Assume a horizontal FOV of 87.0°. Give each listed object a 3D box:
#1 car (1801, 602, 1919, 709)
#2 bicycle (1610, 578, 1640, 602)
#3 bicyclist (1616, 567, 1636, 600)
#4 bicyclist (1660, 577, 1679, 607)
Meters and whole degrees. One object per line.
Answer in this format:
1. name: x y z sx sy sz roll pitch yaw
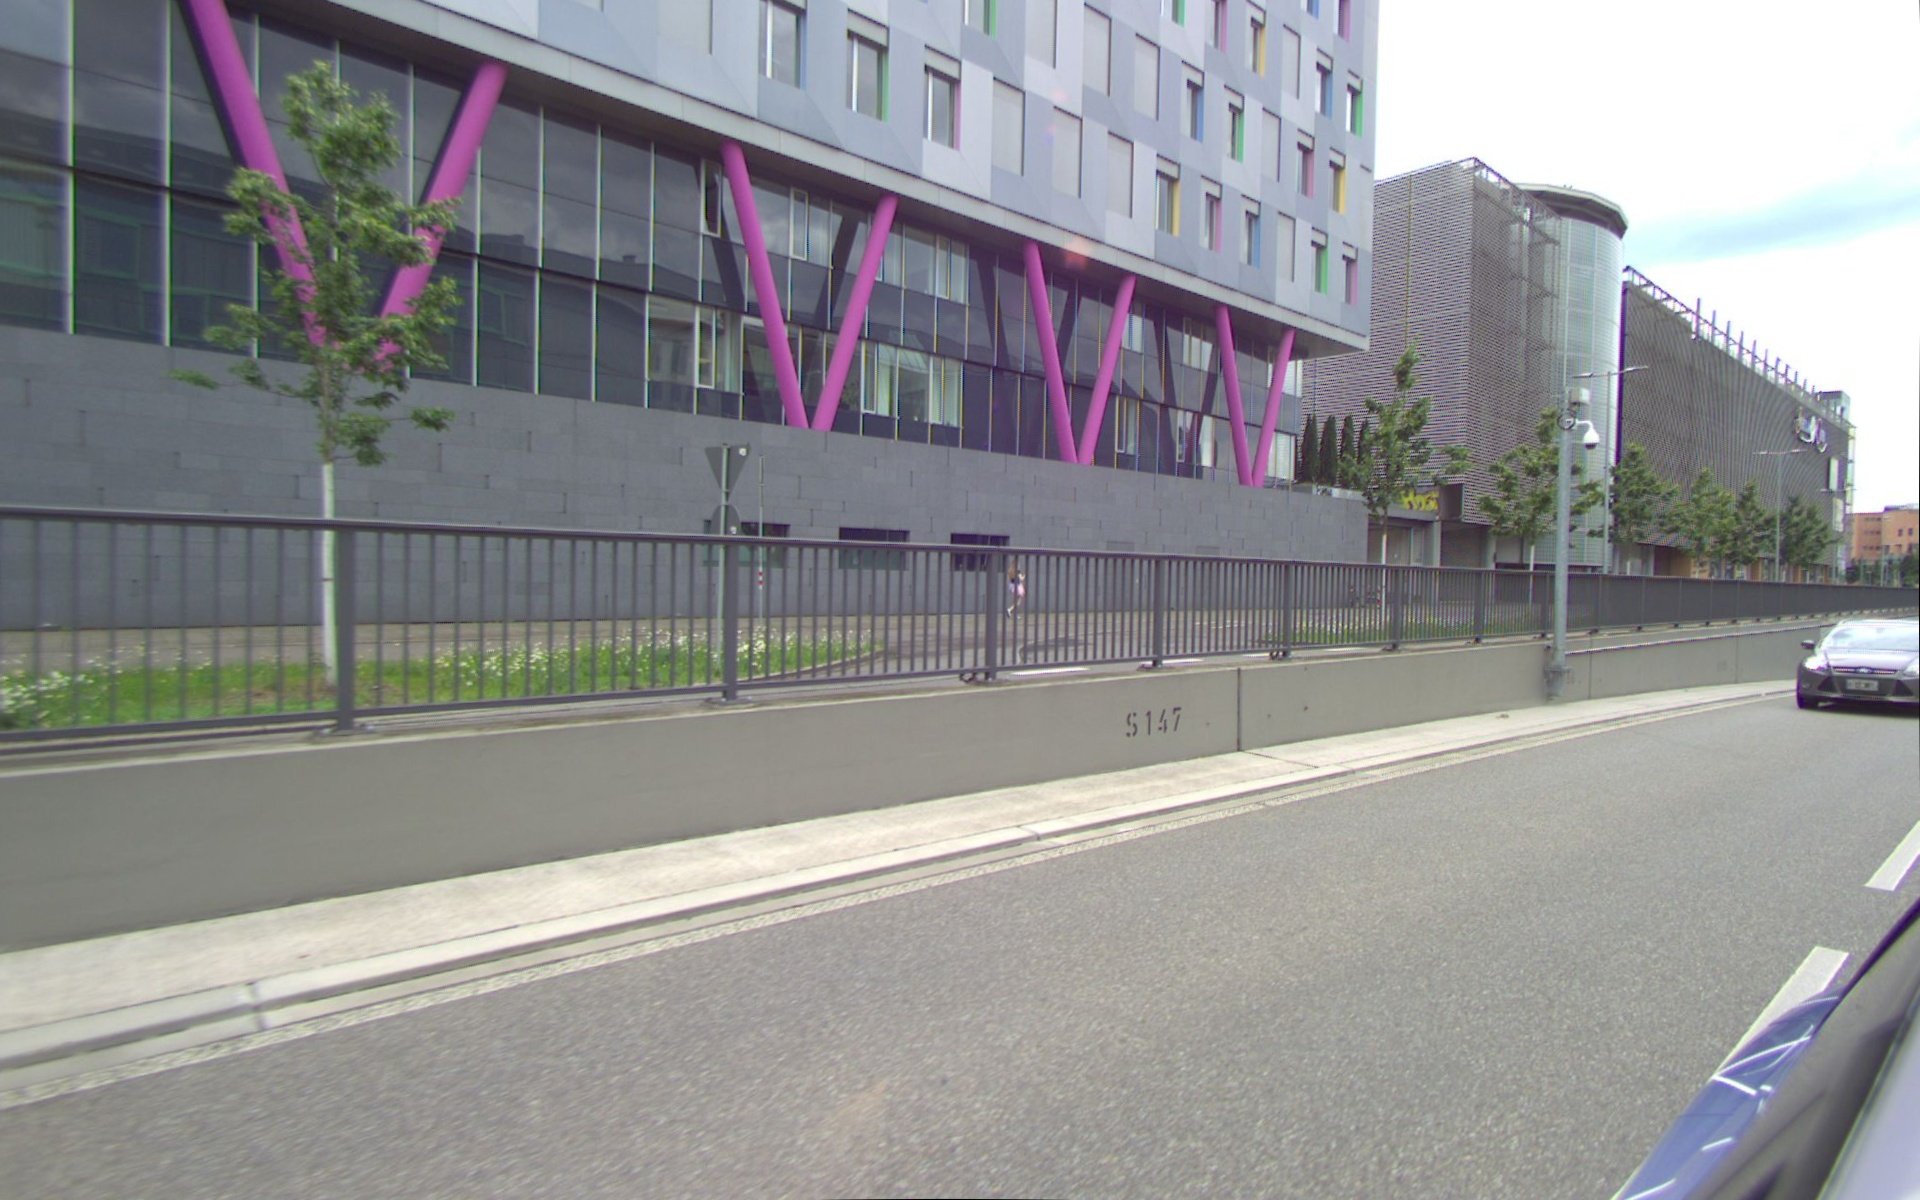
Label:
1. car: 15.235 0.904 16.434 4.192 1.518 1.751 3 -1 -41
2. bicycle: 37.604 -0.557 57.218 2.304 1.173 0.800 5 -3 -42
3. bicyclist: 37.691 -0.934 57.278 0.692 1.826 0.783 5 -3 -41
4. bicyclist: 43.550 -0.479 62.114 0.692 1.825 0.783 1 0 -41
